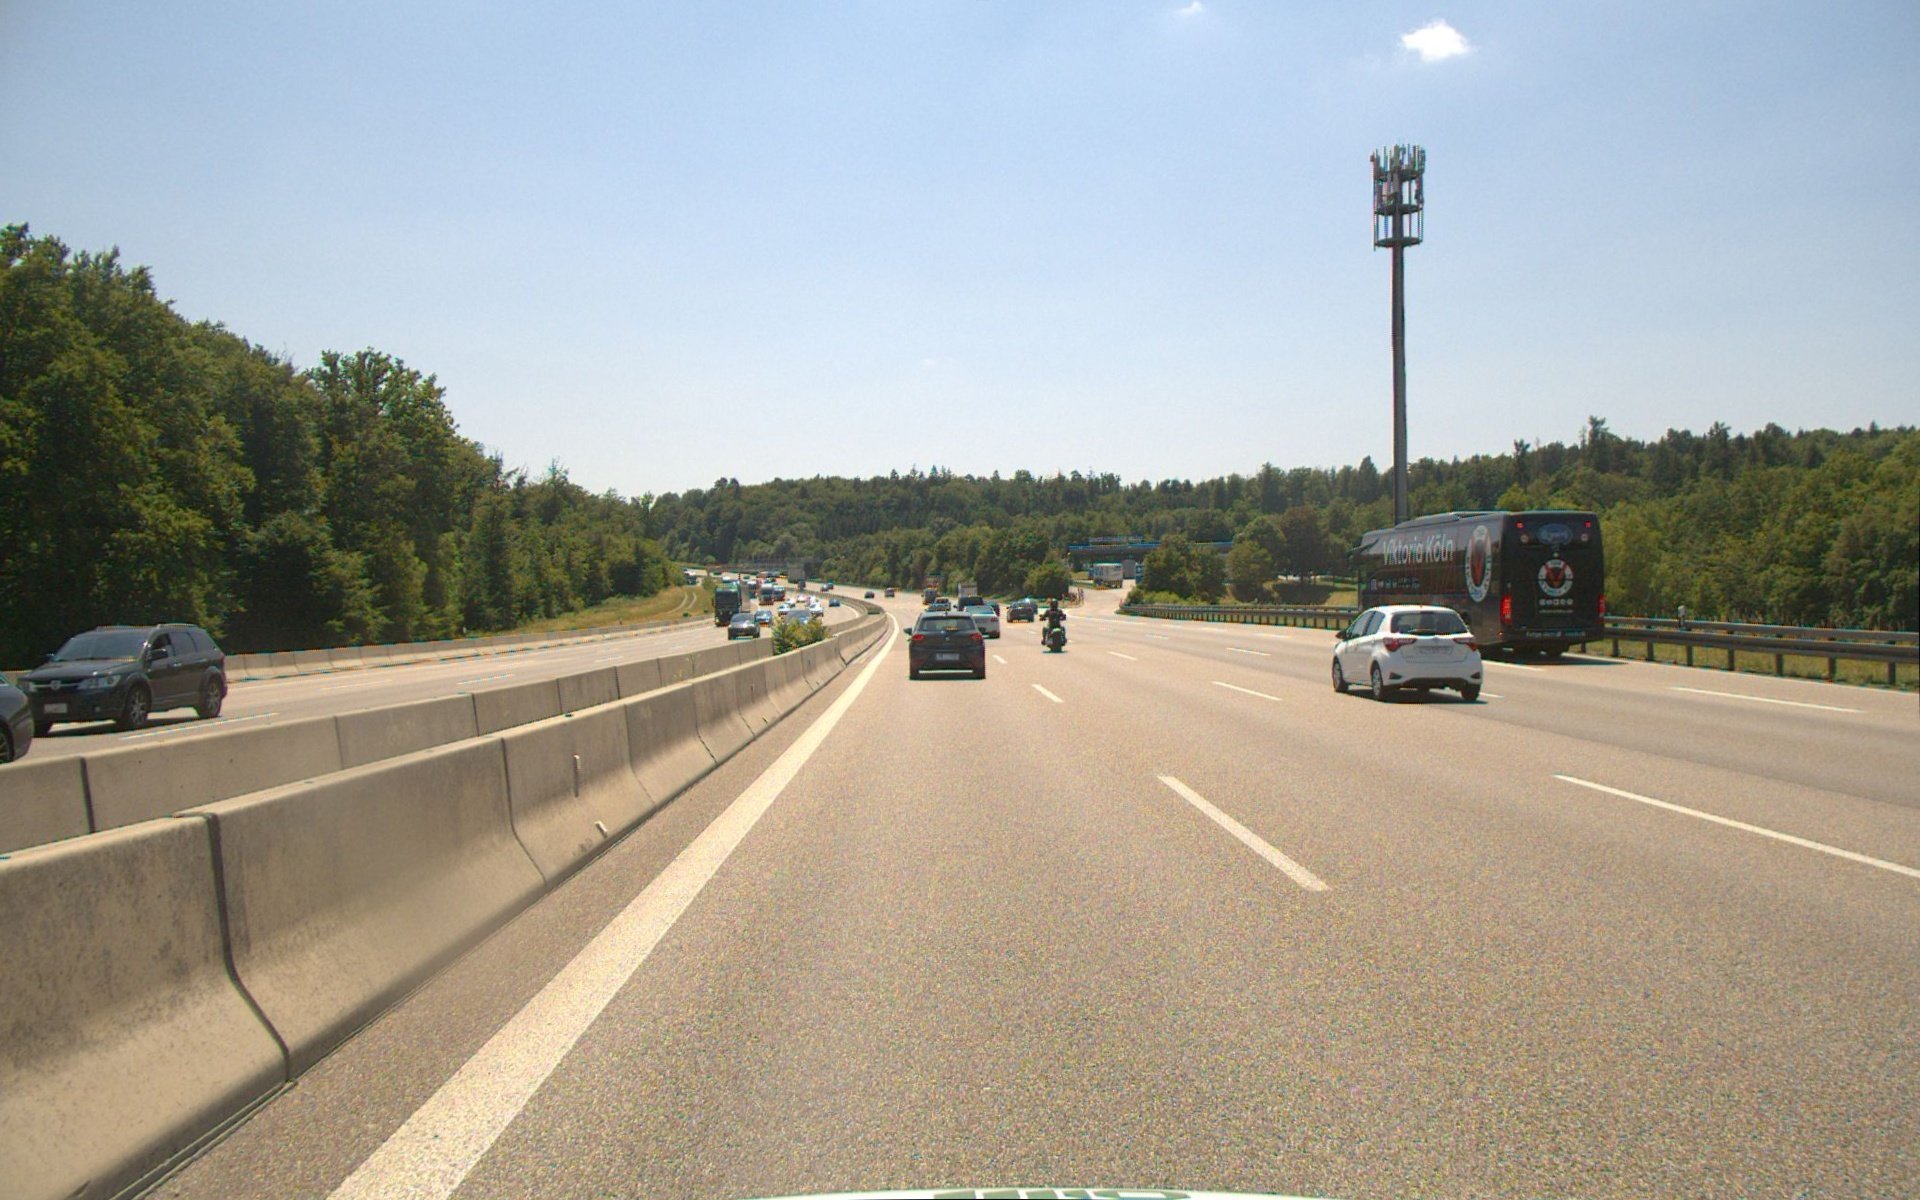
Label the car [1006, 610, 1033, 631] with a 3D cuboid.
[{"bbox_3d":[4.243,1.447,118.147,1.642,1.457,3.683,-1,0,-2],"label":"car"}]

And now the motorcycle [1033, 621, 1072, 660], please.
[{"bbox_3d":[2.925,1.256,52.397,0.958,1.149,2.269,-2,0,-3],"label":"motorcycle"}]

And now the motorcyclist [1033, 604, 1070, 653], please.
[{"bbox_3d":[2.908,0.897,52.549,0.943,1.462,1.233,-2,0,-5],"label":"motorcyclist"}]

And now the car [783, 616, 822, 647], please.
[{"bbox_3d":[-8.928,1.757,93.849,1.794,1.595,4.784,-2,0,-1],"label":"car"}]

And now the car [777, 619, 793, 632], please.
[{"bbox_3d":[-22.710,3.298,214.876,1.835,1.561,4.134,-3,0,-3],"label":"car"}]

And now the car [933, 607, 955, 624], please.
[{"bbox_3d":[-1.715,1.604,175.888,1.955,1.713,4.419,0,1,-5],"label":"car"}]

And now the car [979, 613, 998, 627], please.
[{"bbox_3d":[2.616,1.807,151.791,1.576,1.233,3.458,-2,0,-2],"label":"car"}]

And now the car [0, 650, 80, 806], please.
[{"bbox_3d":[-10.468,1.354,15.634,1.762,1.506,4.719,-3,0,-1],"label":"car"}]

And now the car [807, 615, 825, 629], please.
[{"bbox_3d":[-17.056,2.638,196.240,1.795,1.589,4.774,-1,0,-2],"label":"car"}]

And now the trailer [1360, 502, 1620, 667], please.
[{"bbox_3d":[13.876,-0.290,44.999,2.798,3.752,13.542,-2,-1,1],"label":"trailer"}]

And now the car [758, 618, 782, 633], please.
[{"bbox_3d":[-17.528,2.374,152.382,1.795,1.324,4.727,-1,0,-2],"label":"car"}]

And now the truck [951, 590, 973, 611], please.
[{"bbox_3d":[0.248,0.067,239.739,2.673,2.835,5.677,0,1,-5],"label":"truck"}]

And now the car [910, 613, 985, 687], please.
[{"bbox_3d":[-0.277,1.077,36.902,1.591,1.513,3.685,0,0,-1],"label":"car"}]

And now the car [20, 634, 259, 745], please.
[{"bbox_3d":[-14.358,1.498,29.325,1.761,1.671,5.078,-1,0,-1],"label":"car"}]

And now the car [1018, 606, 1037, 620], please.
[{"bbox_3d":[6.419,1.225,157.600,1.576,1.233,3.458,-2,0,-2],"label":"car"}]

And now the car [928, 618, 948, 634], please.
[{"bbox_3d":[-1.782,2.102,133.743,1.505,1.233,3.457,-2,0,-3],"label":"car"}]

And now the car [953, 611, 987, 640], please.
[{"bbox_3d":[0.661,1.721,112.921,2.055,1.884,4.078,-1,-1,-3],"label":"car"}]

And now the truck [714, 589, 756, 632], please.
[{"bbox_3d":[-23.006,1.039,169.516,2.636,4.096,14.292,-2,0,-2],"label":"truck"}]

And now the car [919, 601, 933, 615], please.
[{"bbox_3d":[-5.237,1.288,254.878,1.955,2.049,4.670,0,1,-5],"label":"car"}]

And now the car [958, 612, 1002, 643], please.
[{"bbox_3d":[0.868,1.224,74.548,1.747,1.287,3.458,-1,0,-3],"label":"car"}]

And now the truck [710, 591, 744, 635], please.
[{"bbox_3d":[-22.812,1.241,162.185,2.604,4.096,5.508,-2,0,-2],"label":"truck"}]

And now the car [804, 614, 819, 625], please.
[{"bbox_3d":[-21.029,2.723,233.812,1.835,1.502,5.109,-2,0,-2],"label":"car"}]

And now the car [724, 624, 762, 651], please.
[{"bbox_3d":[-12.836,2.206,98.034,1.731,1.504,4.480,-2,0,-1],"label":"car"}]

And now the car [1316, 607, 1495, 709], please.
[{"bbox_3d":[7.374,0.907,27.812,1.633,1.458,4.374,-4,0,-1],"label":"car"}]
